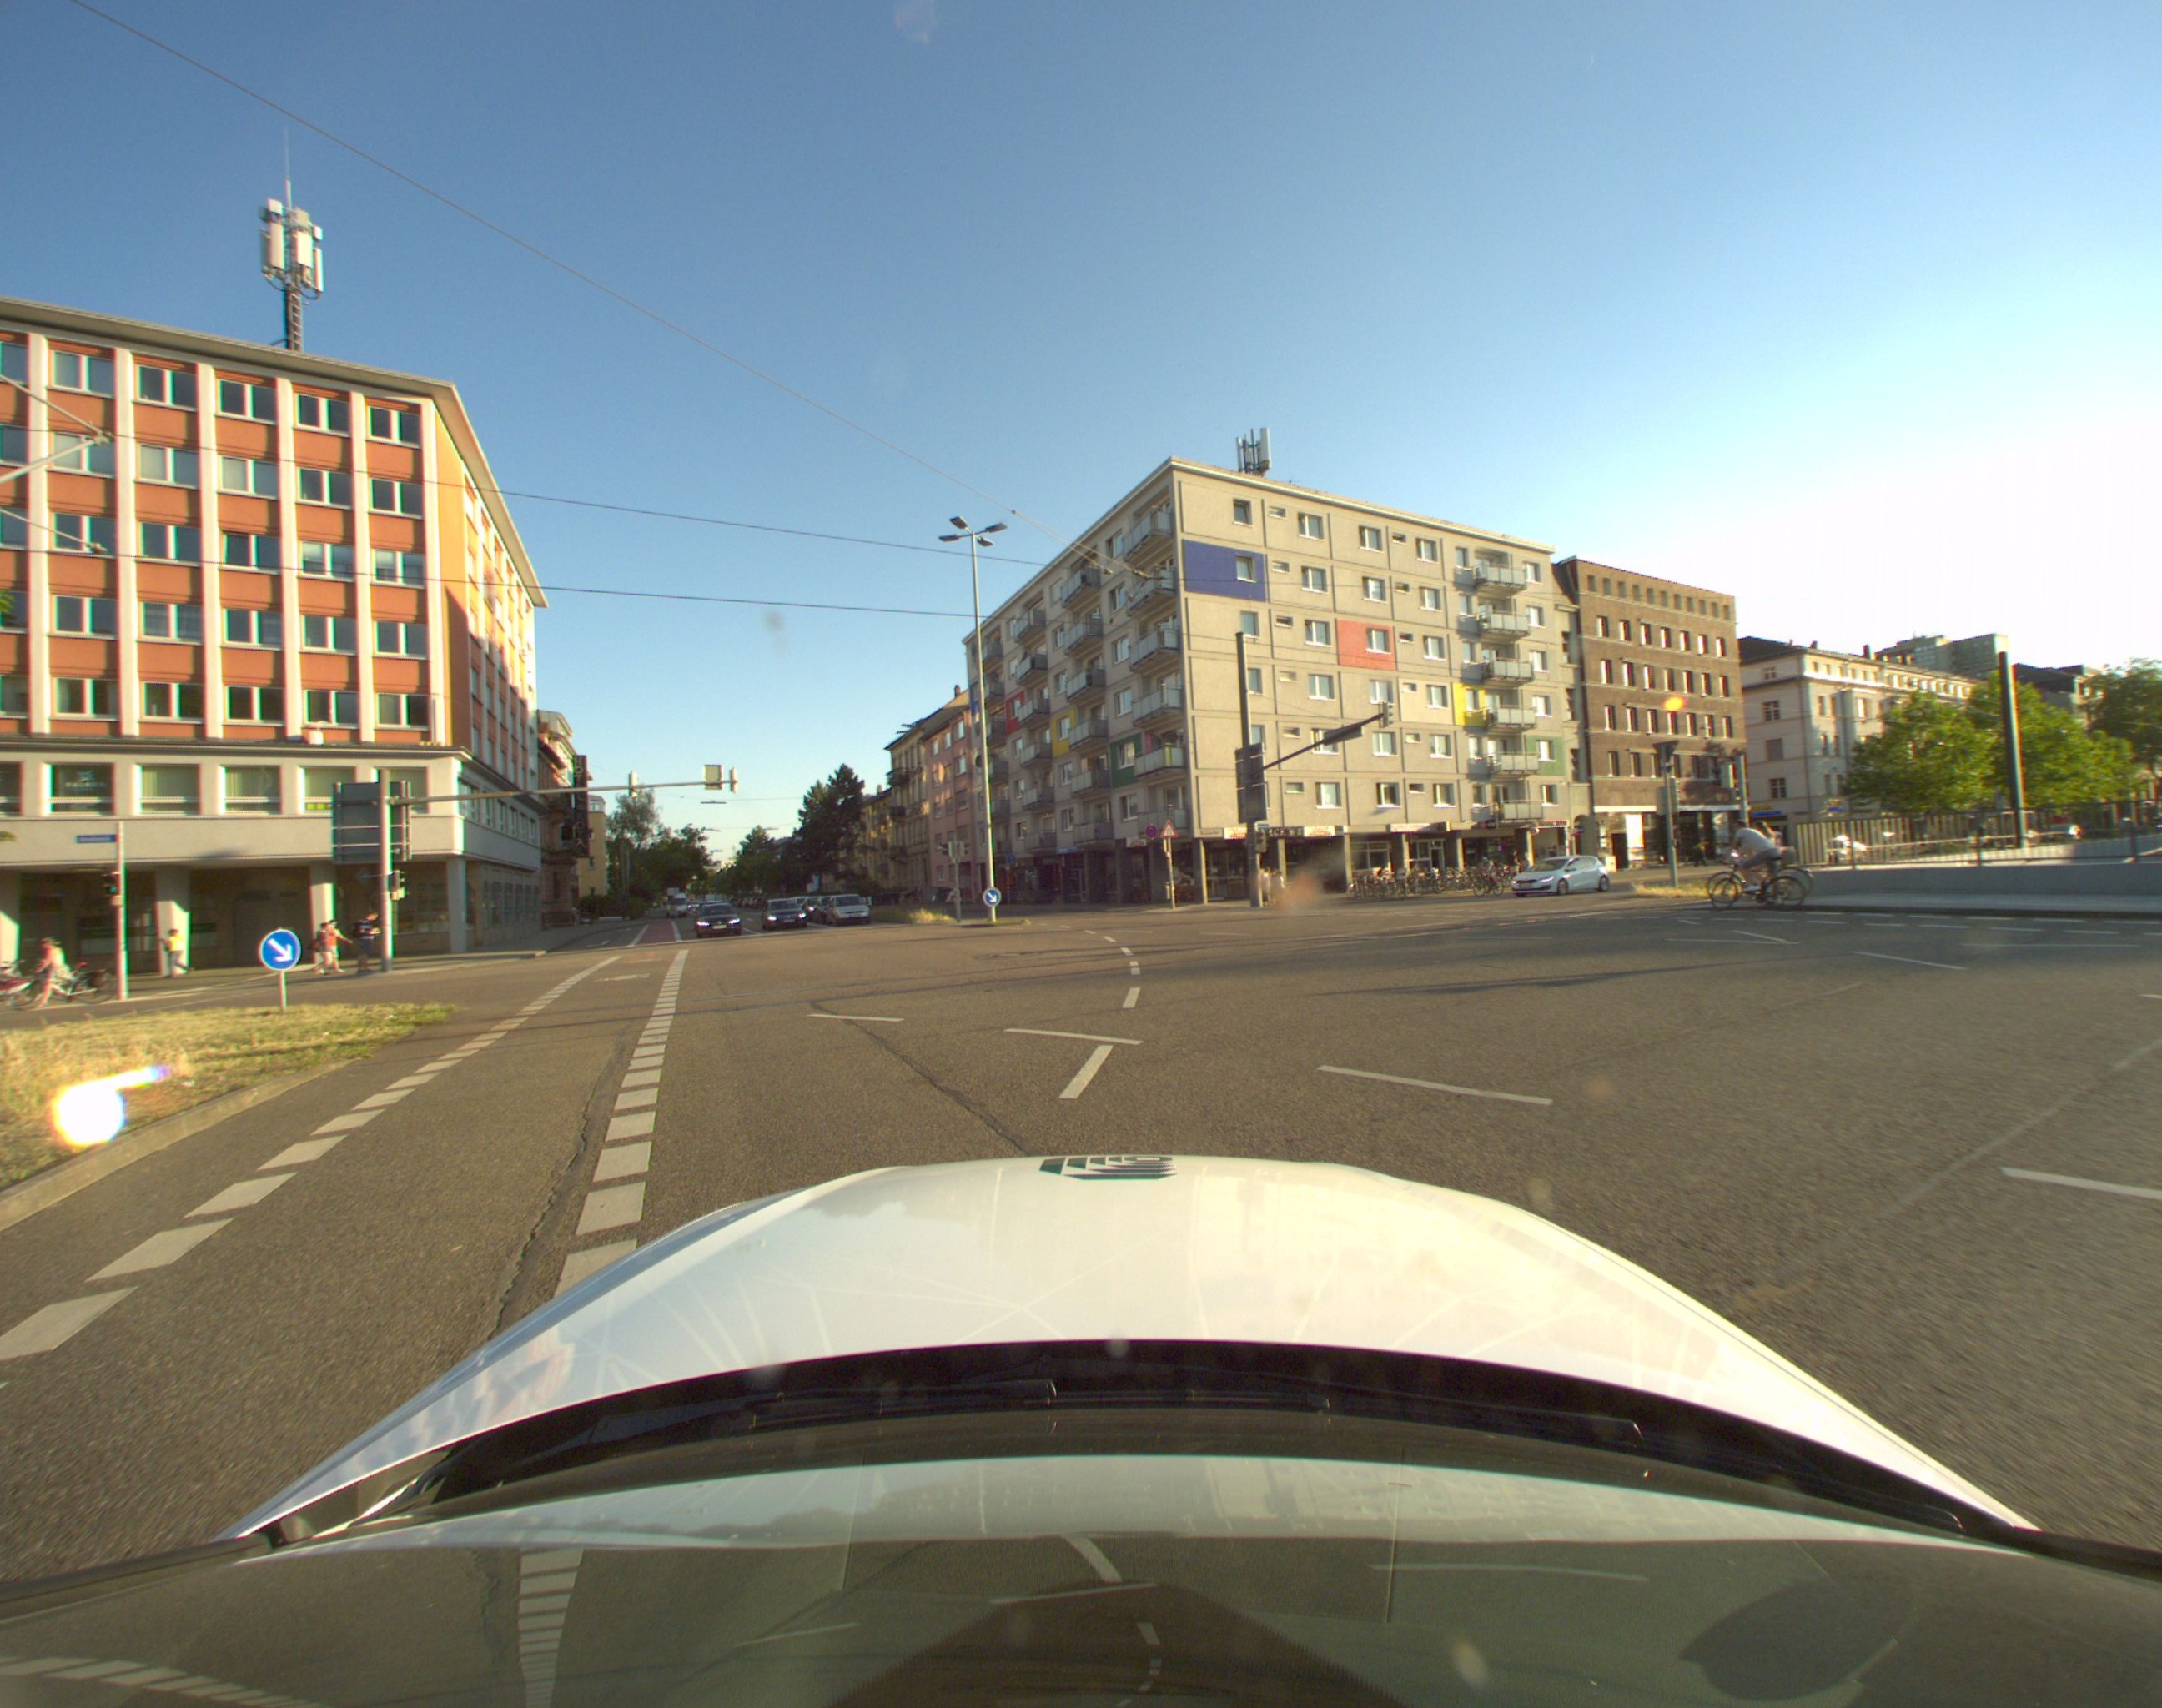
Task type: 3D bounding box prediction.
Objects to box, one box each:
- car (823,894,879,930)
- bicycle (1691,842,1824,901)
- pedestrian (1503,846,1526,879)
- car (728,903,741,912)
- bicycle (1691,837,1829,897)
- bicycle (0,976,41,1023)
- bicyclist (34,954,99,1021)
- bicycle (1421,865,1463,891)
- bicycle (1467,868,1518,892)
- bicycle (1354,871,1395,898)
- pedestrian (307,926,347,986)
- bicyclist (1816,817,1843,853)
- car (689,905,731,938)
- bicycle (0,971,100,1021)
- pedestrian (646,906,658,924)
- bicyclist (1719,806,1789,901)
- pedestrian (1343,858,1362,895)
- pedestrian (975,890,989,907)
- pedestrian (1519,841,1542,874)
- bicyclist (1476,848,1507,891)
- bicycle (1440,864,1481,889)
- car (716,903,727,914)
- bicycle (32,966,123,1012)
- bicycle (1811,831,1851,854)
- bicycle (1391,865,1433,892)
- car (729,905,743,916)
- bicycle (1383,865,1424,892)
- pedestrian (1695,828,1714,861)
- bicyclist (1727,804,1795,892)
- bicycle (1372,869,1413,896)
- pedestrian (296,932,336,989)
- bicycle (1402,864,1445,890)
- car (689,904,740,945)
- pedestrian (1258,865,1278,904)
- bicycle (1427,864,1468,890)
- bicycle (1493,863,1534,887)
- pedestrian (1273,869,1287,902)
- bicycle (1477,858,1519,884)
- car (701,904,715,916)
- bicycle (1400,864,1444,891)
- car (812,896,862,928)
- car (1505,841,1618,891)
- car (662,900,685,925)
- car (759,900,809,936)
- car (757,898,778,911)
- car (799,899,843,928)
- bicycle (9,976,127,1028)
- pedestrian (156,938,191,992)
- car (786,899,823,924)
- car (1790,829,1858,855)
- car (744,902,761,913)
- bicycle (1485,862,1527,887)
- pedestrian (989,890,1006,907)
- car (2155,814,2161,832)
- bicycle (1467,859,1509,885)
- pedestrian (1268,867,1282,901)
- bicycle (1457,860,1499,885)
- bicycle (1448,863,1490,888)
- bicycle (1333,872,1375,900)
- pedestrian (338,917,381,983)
[{"bbox_3d":[-11.069,2.730,39.032,2.003,1.486,3.967,-3,-1,-24],"label":"car"},{"bbox_3d":[13.402,0.365,16.201,0.634,1.075,1.889,-3,-2,-29],"label":"bicycle"},{"bbox_3d":[25.061,0.493,47.055,0.724,1.813,0.820,-2,-2,-38],"label":"pedestrian"},{"bbox_3d":[-66.509,10.299,156.342,2.004,1.517,4.183,-3,-2,-27],"label":"car"},{"bbox_3d":[14.731,0.307,17.731,0.542,1.083,2.144,-2,-4,-41],"label":"bicycle"},{"bbox_3d":[-27.448,3.700,20.243,1.912,1.075,0.464,-3,-2,-29],"label":"bicycle"},{"bbox_3d":[-23.971,3.126,19.257,0.862,1.426,0.495,-2,-2,-41],"label":"bicyclist"},{"bbox_3d":[16.969,1.119,38.336,0.607,1.159,1.766,-3,-2,-27],"label":"bicycle"},{"bbox_3d":[17.335,1.082,34.320,1.944,0.882,0.701,-3,-1,-16],"label":"bicycle"},{"bbox_3d":[13.312,1.384,36.980,0.610,1.142,1.766,-3,-2,-27],"label":"bicycle"},{"bbox_3d":[-24.448,3.292,26.425,0.715,1.818,0.745,-3,-2,-27],"label":"pedestrian"},{"bbox_3d":[43.703,-1.110,47.551,0.925,2.014,0.792,-3,-2,-26],"label":"bicyclist"},{"bbox_3d":[-20.953,3.752,45.913,2.004,1.531,3.965,-3,-1,-26],"label":"car"},{"bbox_3d":[-27.689,3.789,21.639,2.001,1.075,0.464,-3,-2,-29],"label":"bicycle"},{"bbox_3d":[-50.347,7.154,95.632,1.032,2.014,0.933,-2,-2,-40],"label":"pedestrian"},{"bbox_3d":[13.387,-0.002,16.199,0.648,1.818,0.788,-3,-2,-30],"label":"bicyclist"},{"bbox_3d":[12.760,1.040,38.223,0.544,1.684,0.580,-3,-2,-6],"label":"pedestrian"},{"bbox_3d":[-7.340,3.302,60.469,0.715,1.256,0.785,-3,-2,-31],"label":"pedestrian"},{"bbox_3d":[25.615,0.201,46.370,0.738,1.841,0.780,-2,-2,-36],"label":"pedestrian"},{"bbox_3d":[17.297,0.669,34.313,0.791,1.742,0.700,-3,-2,-17],"label":"bicyclist"},{"bbox_3d":[18.094,1.080,38.860,0.553,1.117,1.745,-3,-2,-27],"label":"bicycle"},{"bbox_3d":[-85.248,12.972,193.095,2.004,2.376,3.965,-3,-2,-26],"label":"car"},{"bbox_3d":[-28.258,3.789,22.958,1.565,1.075,0.391,-3,-2,-29],"label":"bicycle"},{"bbox_3d":[43.830,-0.652,47.598,2.417,1.201,0.808,-3,-2,-26],"label":"bicycle"},{"bbox_3d":[15.154,1.149,37.284,0.569,1.182,1.758,-3,-2,-28],"label":"bicycle"},{"bbox_3d":[-61.627,10.068,145.526,2.004,1.834,4.183,-3,-2,-27],"label":"car"},{"bbox_3d":[14.631,1.123,37.009,0.541,1.168,1.755,-3,-2,-27],"label":"bicycle"},{"bbox_3d":[41.610,-0.629,54.390,0.794,2.178,0.598,-3,-2,-28],"label":"pedestrian"},{"bbox_3d":[14.753,-0.121,17.684,0.541,1.818,0.868,-2,-5,-42],"label":"bicyclist"},{"bbox_3d":[14.080,1.300,36.864,0.601,1.139,1.747,-3,-2,-27],"label":"bicycle"},{"bbox_3d":[-24.093,3.336,25.661,0.732,1.685,0.580,-3,-2,-29],"label":"pedestrian"},{"bbox_3d":[16.163,1.108,38.440,0.642,1.160,1.820,-3,-2,-27],"label":"bicycle"},{"bbox_3d":[-16.111,3.048,35.880,1.889,1.486,3.967,-3,-1,-24],"label":"car"},{"bbox_3d":[7.939,1.285,34.565,0.566,1.620,0.607,-5,-2,31],"label":"pedestrian"},{"bbox_3d":[17.447,1.110,38.802,0.607,1.136,1.761,-3,-2,-27],"label":"bicycle"},{"bbox_3d":[21.738,1.060,40.946,0.698,1.144,1.681,-3,-2,-26],"label":"bicycle"},{"bbox_3d":[8.576,1.369,35.011,0.377,1.383,0.398,-5,-2,34],"label":"pedestrian"},{"bbox_3d":[20.483,0.847,40.045,0.750,1.179,1.681,-3,-2,-26],"label":"bicycle"},{"bbox_3d":[-85.233,12.838,186.155,2.631,2.376,5.209,-3,-2,-26],"label":"car"},{"bbox_3d":[15.723,1.106,37.607,0.653,1.191,1.778,-3,-2,-28],"label":"bicycle"},{"bbox_3d":[-13.077,3.066,43.529,2.003,1.486,3.967,-3,-1,-24],"label":"car"},{"bbox_3d":[18.041,0.452,30.548,4.009,1.618,1.679,-3,-2,-27],"label":"car"},{"bbox_3d":[-41.352,5.948,82.702,2.004,2.324,4.183,-3,-2,-27],"label":"car"},{"bbox_3d":[-14.465,3.042,39.533,2.003,1.486,3.967,-3,-1,-24],"label":"car"},{"bbox_3d":[-39.422,6.302,102.251,2.004,1.517,4.183,-3,-2,-27],"label":"car"},{"bbox_3d":[-15.627,3.554,48.849,2.003,1.486,3.967,-3,-1,-24],"label":"car"},{"bbox_3d":[-23.924,3.483,19.273,1.677,0.944,0.503,-2,-2,-41],"label":"bicycle"},{"bbox_3d":[-31.967,3.883,28.695,0.642,1.791,0.580,-3,-2,-29],"label":"pedestrian"},{"bbox_3d":[-19.320,3.985,56.845,2.003,1.486,3.967,-3,-1,-24],"label":"car"},{"bbox_3d":[49.070,-0.786,53.791,4.006,1.420,1.810,-3,-2,-25],"label":"car"},{"bbox_3d":[-50.082,8.183,123.974,2.004,1.517,4.183,-3,-2,-27],"label":"car"},{"bbox_3d":[21.136,1.038,40.502,0.750,1.170,1.681,-3,-2,-26],"label":"bicycle"},{"bbox_3d":[-6.001,3.203,58.424,0.864,1.170,0.783,-3,-2,-33],"label":"pedestrian"},{"bbox_3d":[109.097,-3.237,81.002,4.339,1.742,1.875,-3,-2,-26],"label":"car"},{"bbox_3d":[19.837,0.884,39.688,0.707,1.153,1.681,-3,-2,-26],"label":"bicycle"},{"bbox_3d":[8.513,1.330,35.767,0.373,1.448,0.397,-5,-2,35],"label":"pedestrian"},{"bbox_3d":[19.195,0.912,39.409,0.635,1.124,1.717,-2,-2,-26],"label":"bicycle"},{"bbox_3d":[18.622,1.051,39.117,0.569,1.119,1.751,-3,-2,-27],"label":"bicycle"},{"bbox_3d":[12.333,1.438,36.814,0.640,1.208,1.783,-3,-2,-28],"label":"bicycle"},{"bbox_3d":[-22.101,2.930,24.937,0.708,1.947,0.728,-4,-2,28],"label":"pedestrian"}]
